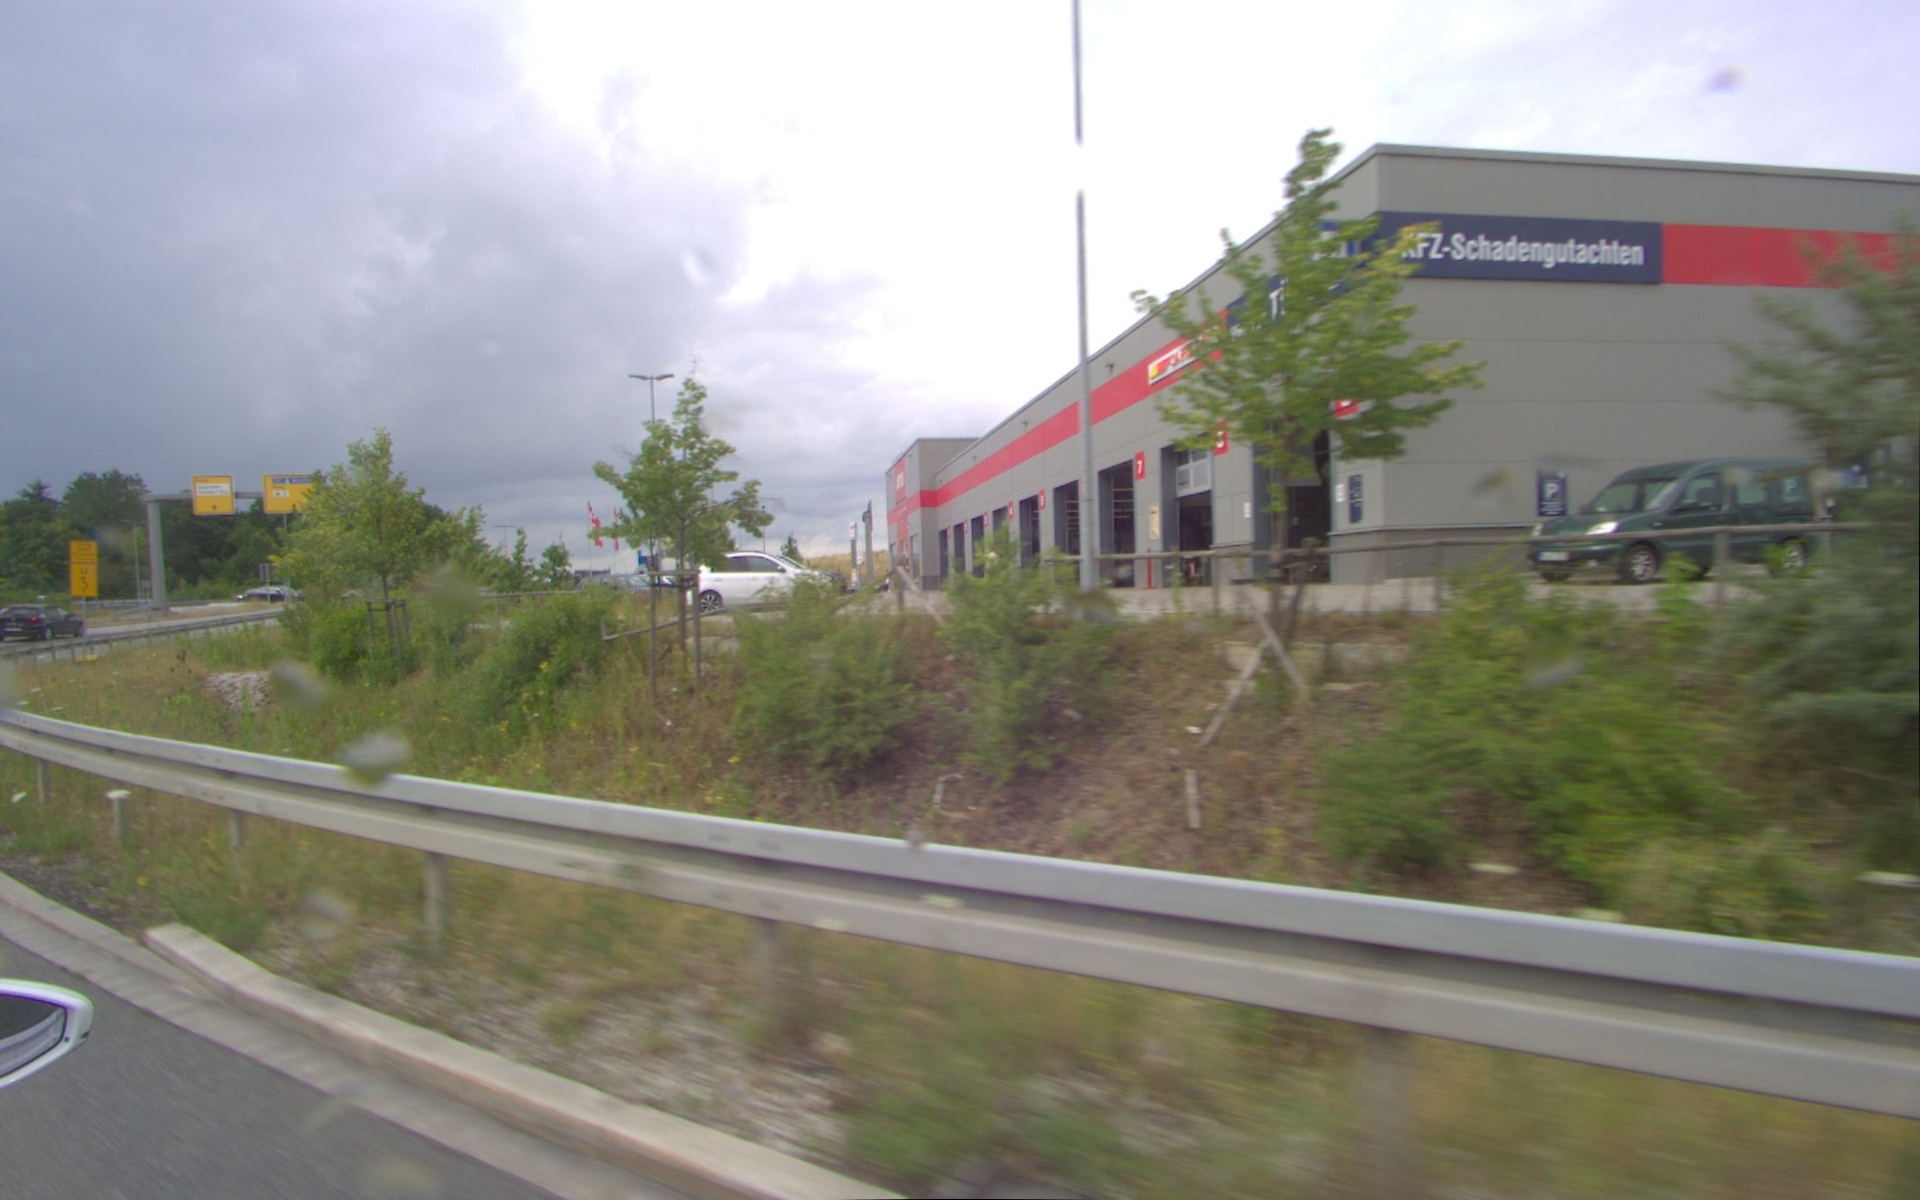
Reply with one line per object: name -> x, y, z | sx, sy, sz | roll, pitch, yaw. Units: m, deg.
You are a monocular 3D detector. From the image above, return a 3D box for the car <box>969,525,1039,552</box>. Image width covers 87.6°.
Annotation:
car -> 2.603, -3.644, 59.236 | 3.839, 1.537, 1.793 | -1, 4, -9

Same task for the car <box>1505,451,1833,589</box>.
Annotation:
car -> 10.364, -1.174, 14.746 | 3.896, 1.837, 1.702 | -2, 4, -11

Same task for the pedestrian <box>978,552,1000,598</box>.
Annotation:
pedestrian -> 1.134, -0.984, 39.435 | 0.663, 1.765, 0.628 | -1, 1, 21

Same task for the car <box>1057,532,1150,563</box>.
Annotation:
car -> 6.387, -2.330, 44.726 | 3.839, 1.241, 1.660 | 0, 1, -9

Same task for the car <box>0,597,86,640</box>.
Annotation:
car -> -37.059, 0.743, 40.199 | 1.844, 1.626, 3.722 | -1, 0, -23

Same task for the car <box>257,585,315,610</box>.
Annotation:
car -> -52.318, -0.192, 77.727 | 4.089, 1.807, 1.895 | -1, 2, 25

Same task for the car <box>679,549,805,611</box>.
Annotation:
car -> -6.191, -0.564, 28.737 | 3.381, 1.657, 1.730 | -1, 1, -10

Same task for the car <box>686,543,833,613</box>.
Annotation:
car -> -5.183, -0.569, 26.110 | 3.560, 1.559, 1.642 | -4, 2, -11
